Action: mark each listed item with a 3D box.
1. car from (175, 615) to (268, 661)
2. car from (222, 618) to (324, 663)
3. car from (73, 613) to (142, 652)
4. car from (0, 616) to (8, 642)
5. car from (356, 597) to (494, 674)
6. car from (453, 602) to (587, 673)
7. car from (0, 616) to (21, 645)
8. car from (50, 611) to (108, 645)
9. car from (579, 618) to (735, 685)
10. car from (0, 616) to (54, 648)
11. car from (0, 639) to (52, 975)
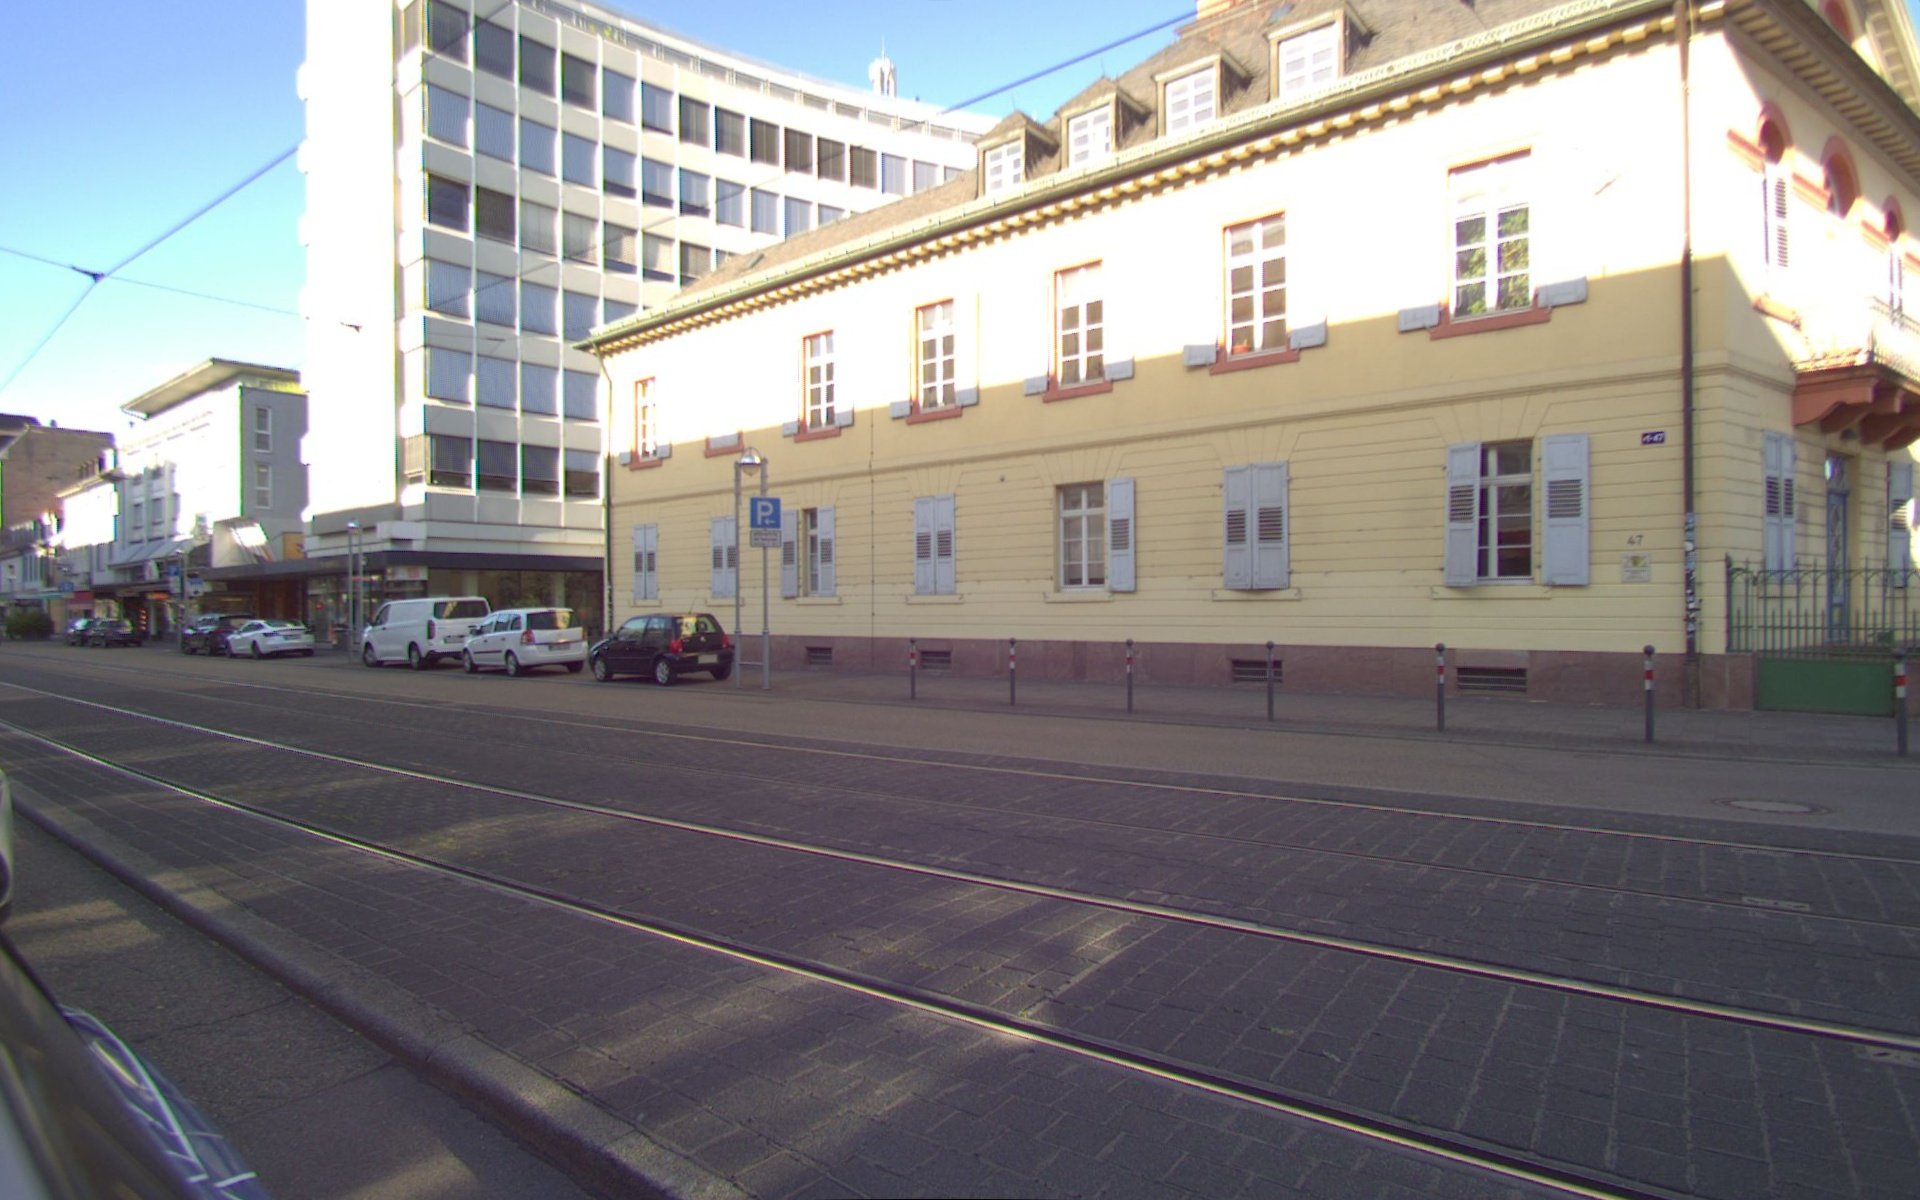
[{"bbox_3d":[-29.912,1.493,40.959,4.103,1.717,1.975,-1,0,38],"label":"car"},{"bbox_3d":[-25.596,1.446,37.661,4.369,1.541,1.974,-1,0,39],"label":"car"},{"bbox_3d":[-43.945,1.646,52.157,3.995,1.874,1.974,-1,0,38],"label":"car"},{"bbox_3d":[-78.784,2.344,81.868,3.995,2.029,1.974,-1,0,38],"label":"car"},{"bbox_3d":[-15.355,0.972,28.945,4.619,2.029,2.014,-1,-1,41],"label":"car"},{"bbox_3d":[-11.064,0.893,25.334,4.005,1.621,1.619,-1,0,43],"label":"car"},{"bbox_3d":[-70.701,2.243,74.427,3.998,2.029,1.973,-1,-1,41],"label":"car"},{"bbox_3d":[-50.237,1.588,57.707,3.994,1.896,1.768,-1,-1,38],"label":"car"},{"bbox_3d":[-6.446,1.031,21.453,3.210,1.263,1.667,-1,0,39],"label":"car"},{"bbox_3d":[-62.844,2.118,68.090,3.996,2.058,2.172,-1,-1,39],"label":"car"},{"bbox_3d":[-6.084,0.904,4.809,3.992,1.393,1.862,-1,0,36],"label":"car"}]
